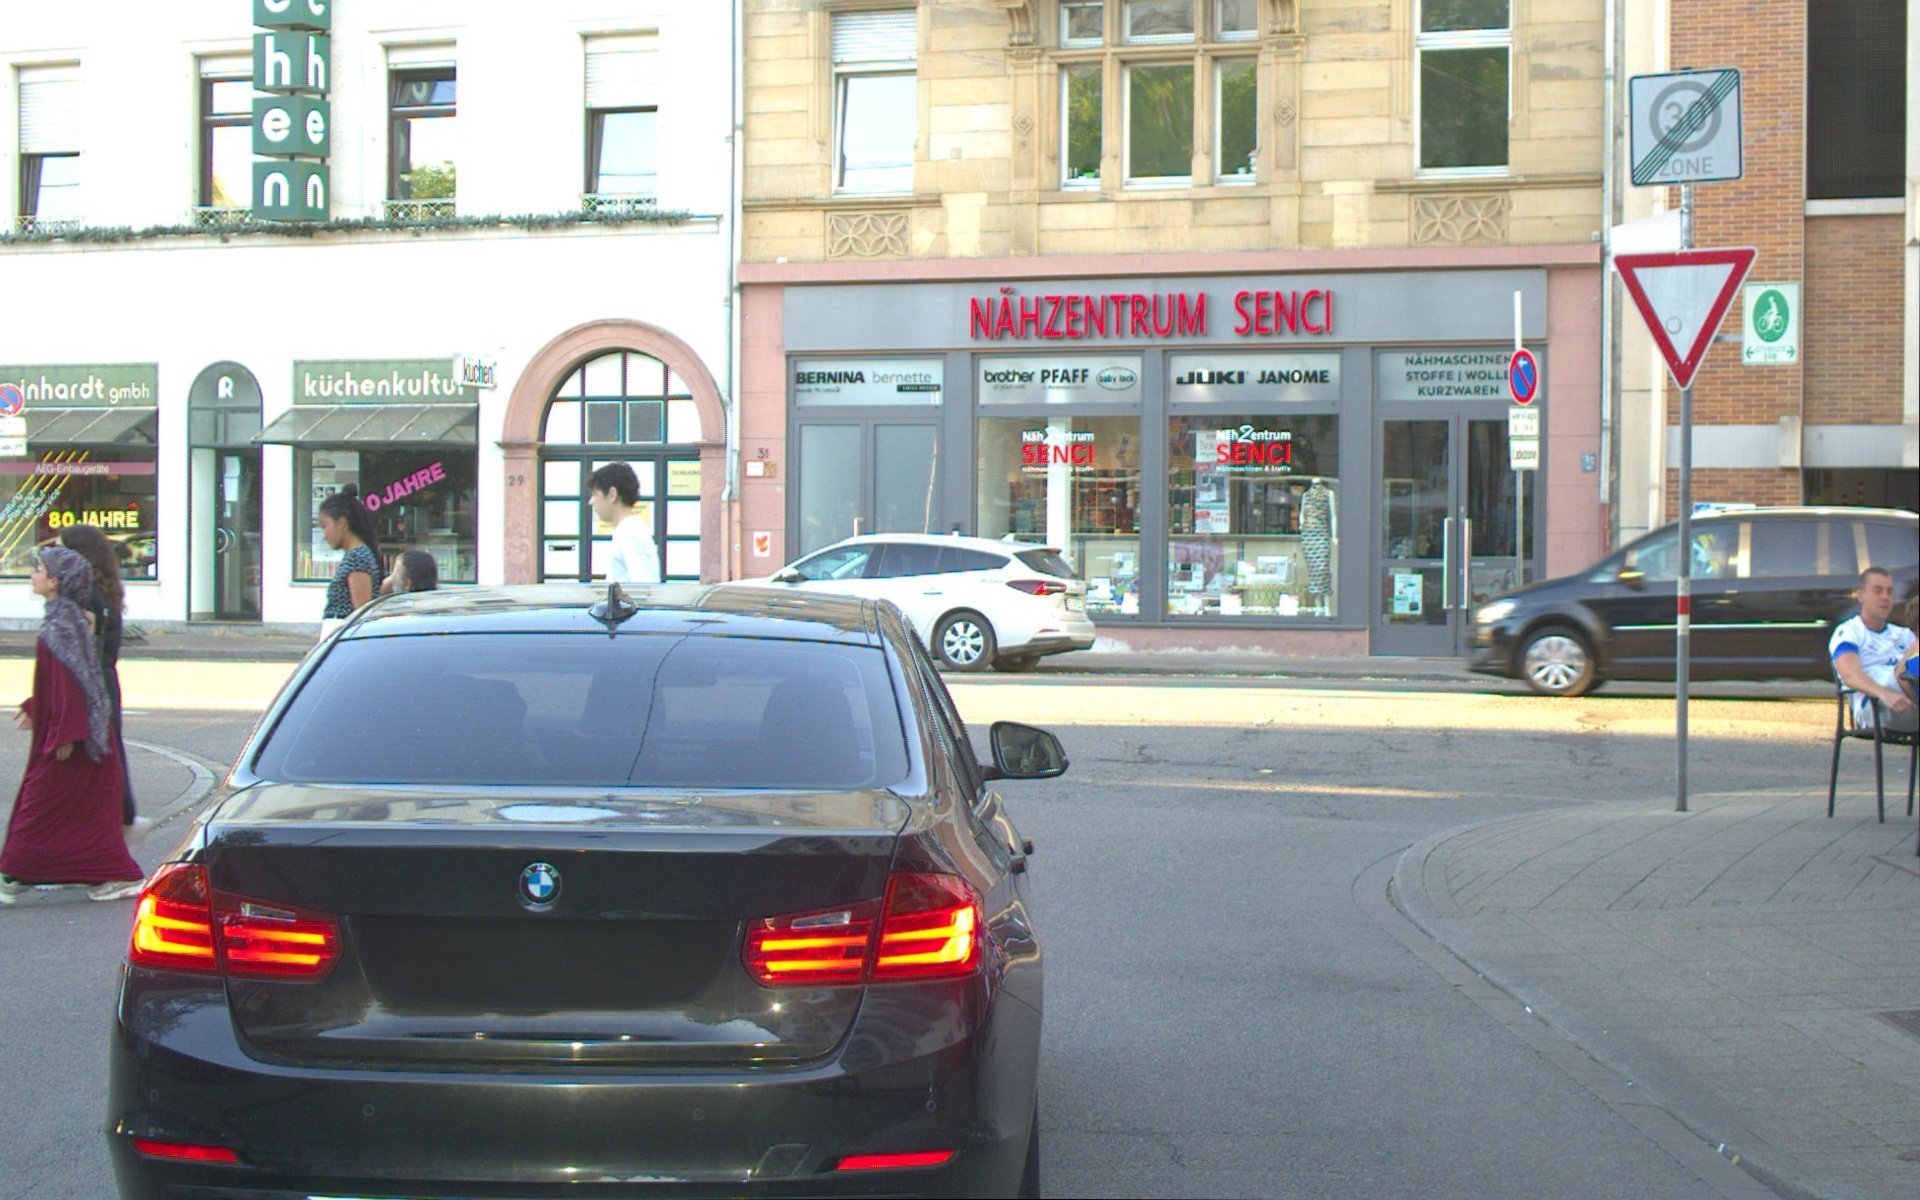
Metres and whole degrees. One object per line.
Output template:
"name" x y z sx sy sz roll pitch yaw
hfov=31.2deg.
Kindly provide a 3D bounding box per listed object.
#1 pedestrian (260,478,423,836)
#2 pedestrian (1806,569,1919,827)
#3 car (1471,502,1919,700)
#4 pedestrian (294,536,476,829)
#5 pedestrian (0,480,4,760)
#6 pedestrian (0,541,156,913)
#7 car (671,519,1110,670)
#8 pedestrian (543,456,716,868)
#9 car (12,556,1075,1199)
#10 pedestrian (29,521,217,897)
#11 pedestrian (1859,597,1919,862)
"pedestrian" -3.059 0.269 17.029 0.667 1.740 0.606 0 1 4
"pedestrian" 4.608 0.475 17.157 0.617 1.250 0.735 0 1 3
"car" 6.637 -0.006 29.705 4.185 1.619 1.799 1 0 16
"pedestrian" -2.941 0.412 17.635 0.815 1.469 0.606 0 1 2
"pedestrian" -5.390 0.248 17.383 0.895 1.719 0.607 2 3 4
"pedestrian" -3.784 0.517 14.405 0.735 1.508 0.650 2 1 -11
"car" -0.743 -0.082 37.172 4.356 1.557 1.867 0 0 20
"pedestrian" -1.536 0.279 16.053 0.698 1.871 0.678 1 1 1
"car" -0.789 0.632 8.189 1.765 1.370 4.791 1 1 -2
"pedestrian" -3.677 0.466 15.140 0.724 1.603 0.650 2 1 -11
"pedestrian" 4.518 0.568 15.316 0.890 1.146 0.619 0 1 5
